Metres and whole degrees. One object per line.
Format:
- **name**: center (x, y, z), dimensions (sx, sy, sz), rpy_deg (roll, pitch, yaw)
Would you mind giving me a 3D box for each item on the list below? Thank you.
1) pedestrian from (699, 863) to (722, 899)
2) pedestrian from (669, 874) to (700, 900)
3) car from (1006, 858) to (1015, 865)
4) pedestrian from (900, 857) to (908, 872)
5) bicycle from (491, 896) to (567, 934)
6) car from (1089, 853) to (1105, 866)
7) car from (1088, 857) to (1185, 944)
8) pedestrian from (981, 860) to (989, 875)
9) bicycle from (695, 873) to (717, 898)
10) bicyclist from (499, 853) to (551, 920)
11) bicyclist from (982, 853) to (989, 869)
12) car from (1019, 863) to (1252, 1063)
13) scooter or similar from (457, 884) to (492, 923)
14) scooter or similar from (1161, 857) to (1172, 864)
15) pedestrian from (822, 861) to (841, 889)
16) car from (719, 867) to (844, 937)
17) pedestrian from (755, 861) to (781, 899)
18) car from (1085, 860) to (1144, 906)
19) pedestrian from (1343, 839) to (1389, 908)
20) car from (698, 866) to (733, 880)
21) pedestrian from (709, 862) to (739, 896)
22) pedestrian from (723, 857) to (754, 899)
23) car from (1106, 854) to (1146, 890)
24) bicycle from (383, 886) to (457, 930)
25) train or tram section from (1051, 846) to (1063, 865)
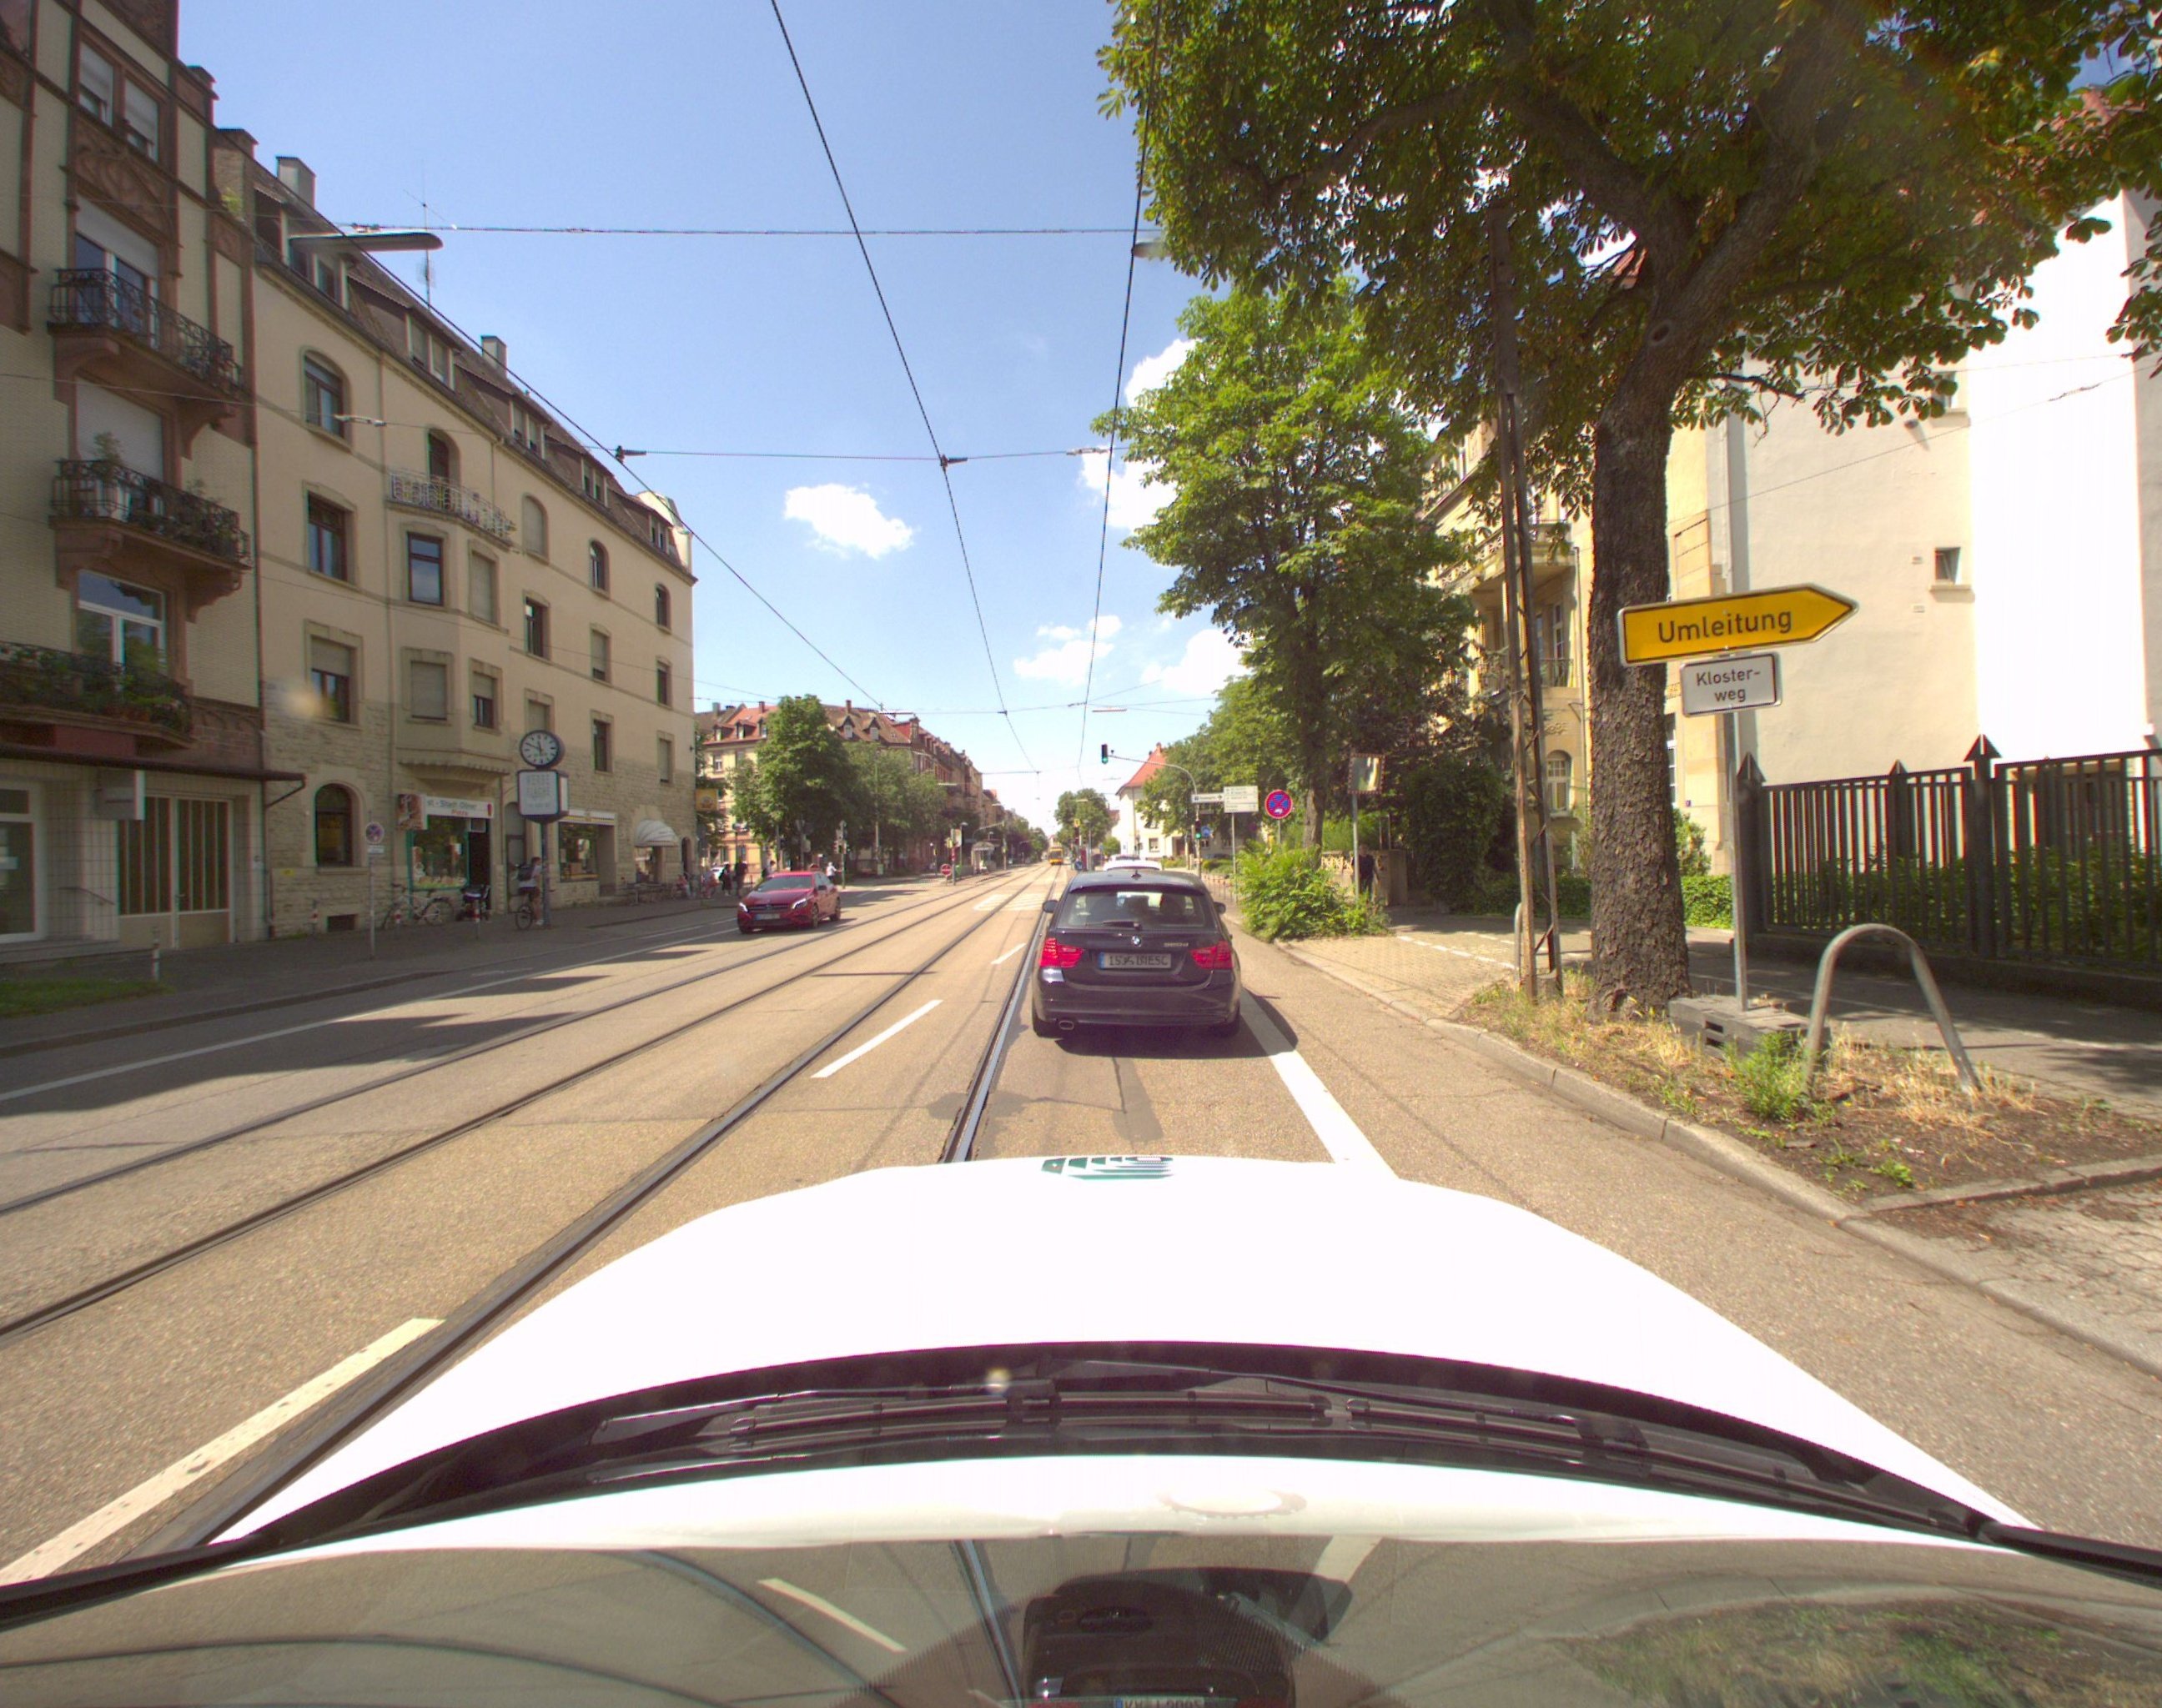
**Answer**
- **pedestrian**: center (-16.882, 1.235, 37.140), dimensions (0.808, 1.595, 0.914), rpy_deg (-2, 0, -17)
- **pedestrian**: center (-17.561, 1.449, 36.088), dimensions (0.913, 1.077, 0.883), rpy_deg (-2, 0, 0)
- **car**: center (-16.979, 1.790, 196.130), dimensions (1.787, 1.586, 3.986), rpy_deg (0, -1, -10)
- **pedestrian**: center (-21.337, 1.223, 98.230), dimensions (0.744, 1.811, 0.633), rpy_deg (-1, -1, -42)
- **bicycle**: center (-14.104, 1.540, 20.875), dimensions (0.750, 0.817, 1.818), rpy_deg (-2, 0, -3)
- **car**: center (2.407, 0.838, 121.944), dimensions (1.990, 1.849, 3.993), rpy_deg (-2, 0, -5)
- **car**: center (1.061, 0.841, 16.358), dimensions (1.678, 1.484, 3.686), rpy_deg (-2, 0, 2)
- **pedestrian**: center (-8.427, 1.181, 71.631), dimensions (0.613, 1.243, 0.626), rpy_deg (-2, 0, -7)
- **bicycle**: center (-18.223, 1.541, 39.566), dimensions (0.547, 1.128, 1.663), rpy_deg (-1, -2, -38)
- **bicyclist**: center (-14.136, 0.806, 20.743), dimensions (0.754, 1.663, 0.830), rpy_deg (0, -1, -3)
- **bicyclist**: center (-12.005, 0.881, 102.655), dimensions (0.721, 1.870, 0.824), rpy_deg (-2, 0, -3)
- **car**: center (0.561, 0.824, 8.314), dimensions (1.715, 1.409, 4.570), rpy_deg (0, 0, 4)
- **scooter or similar**: center (-17.372, 1.406, 23.310), dimensions (0.700, 1.044, 1.195), rpy_deg (1, -1, -42)
- **scooter or similar**: center (10.535, 0.855, 100.465), dimensions (1.310, 0.837, 0.525), rpy_deg (-2, 0, -7)
- **pedestrian**: center (-15.728, 1.338, 51.349), dimensions (0.913, 1.723, 0.840), rpy_deg (-2, 0, 1)
- **car**: center (-7.439, 1.126, 20.726), dimensions (1.820, 1.413, 4.420), rpy_deg (-3, 0, -5)
- **pedestrian**: center (-14.232, 1.170, 37.030), dimensions (0.857, 1.732, 0.775), rpy_deg (0, 0, 0)
- **car**: center (1.016, 0.896, 26.349), dimensions (1.686, 1.323, 3.820), rpy_deg (-2, 0, 0)
- **pedestrian**: center (7.041, 0.483, 20.178), dimensions (0.852, 1.645, 0.838), rpy_deg (-2, -1, 6)
- **car**: center (-40.956, 2.160, 91.183), dimensions (3.429, 1.471, 1.694), rpy_deg (-2, 0, 23)
- **pedestrian**: center (-17.754, 1.259, 40.509), dimensions (1.016, 1.635, 0.866), rpy_deg (-2, 0, 10)
- **pedestrian**: center (-15.611, 1.077, 37.139), dimensions (0.898, 1.891, 1.164), rpy_deg (-2, 0, -2)
- **car**: center (2.023, 0.794, 37.022), dimensions (1.684, 1.514, 3.824), rpy_deg (-1, 0, 3)
- **bicycle**: center (-17.149, 1.384, 21.157), dimensions (0.366, 1.066, 1.473), rpy_deg (-1, -2, 22)
- **train or tram section**: center (-4.643, 0.262, 157.125), dimensions (2.184, 3.482, 8.839), rpy_deg (-2, 0, -1)
